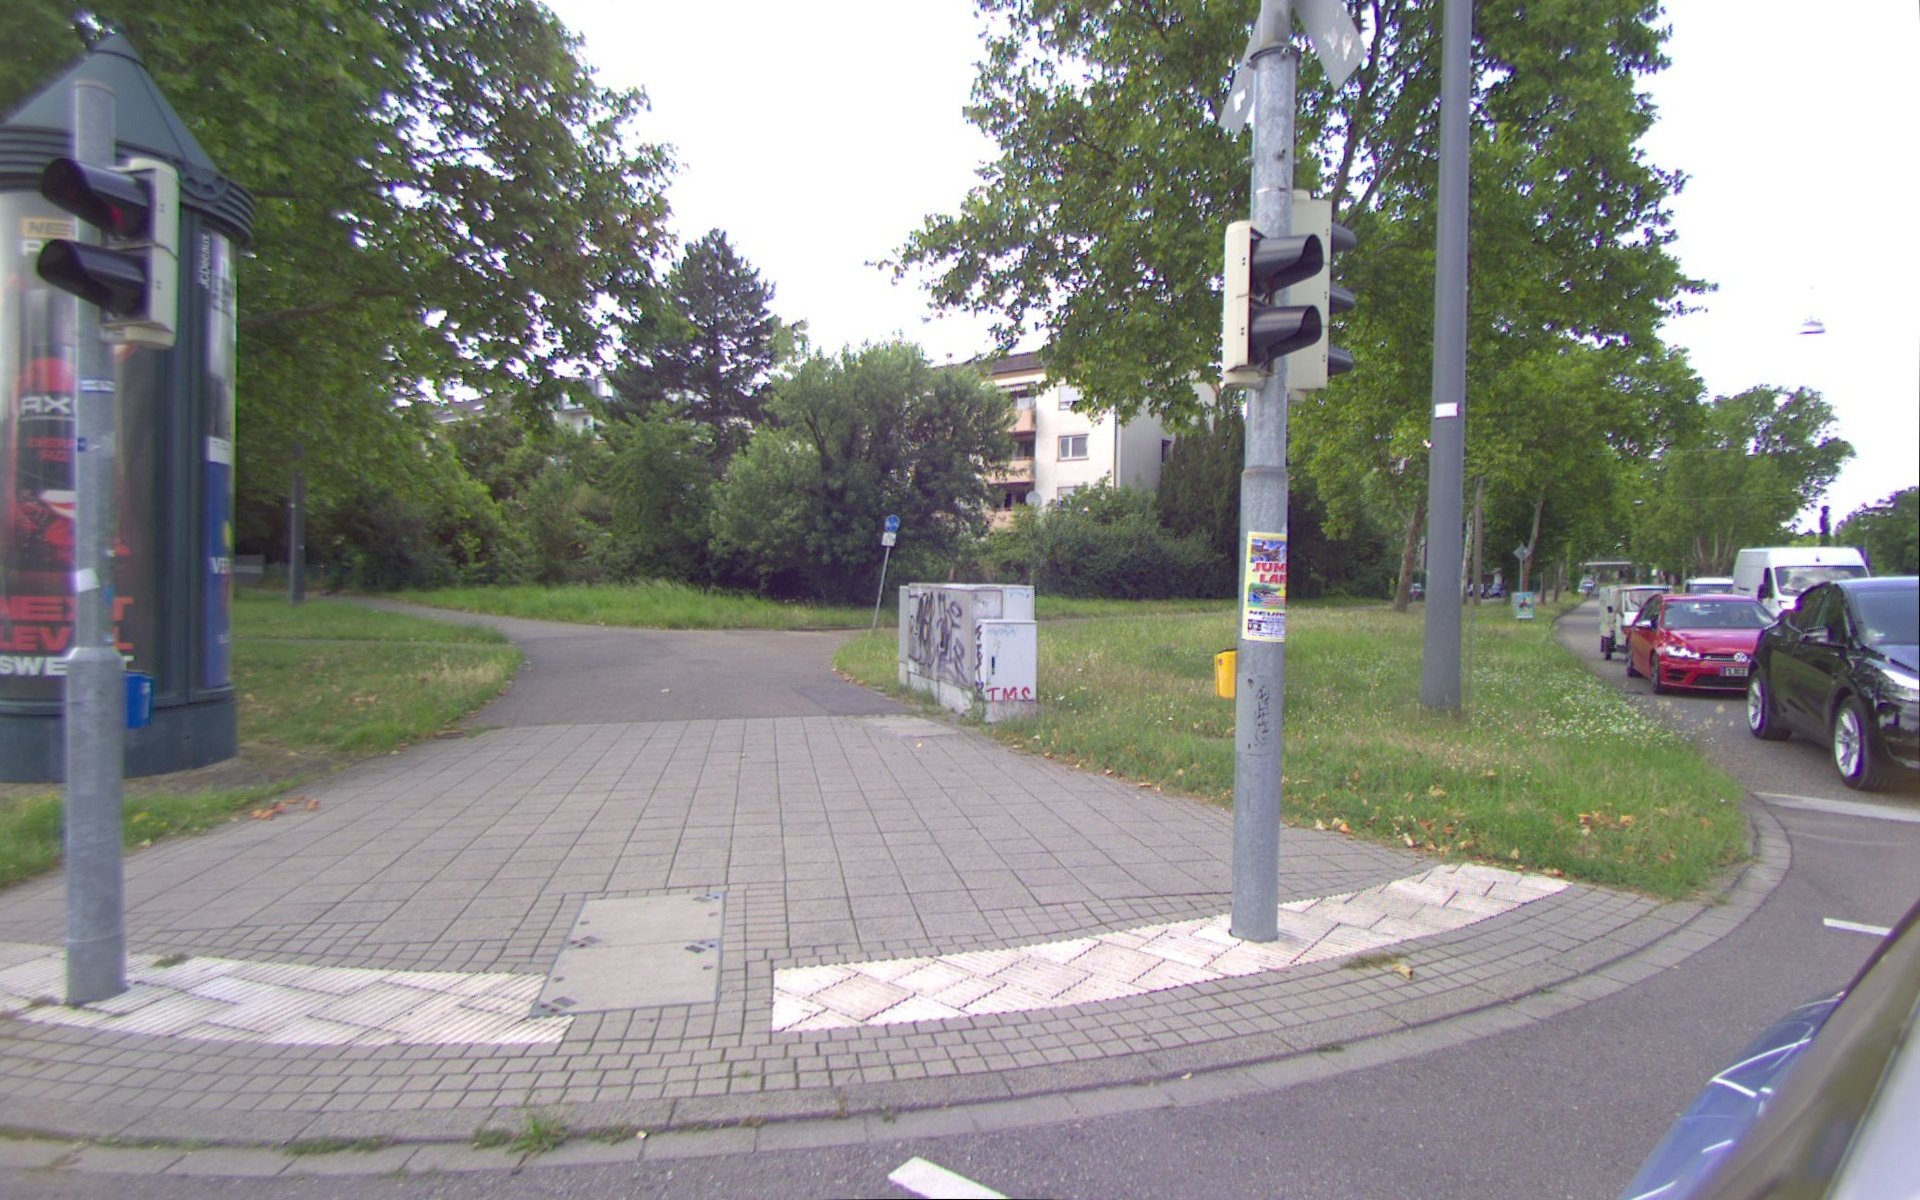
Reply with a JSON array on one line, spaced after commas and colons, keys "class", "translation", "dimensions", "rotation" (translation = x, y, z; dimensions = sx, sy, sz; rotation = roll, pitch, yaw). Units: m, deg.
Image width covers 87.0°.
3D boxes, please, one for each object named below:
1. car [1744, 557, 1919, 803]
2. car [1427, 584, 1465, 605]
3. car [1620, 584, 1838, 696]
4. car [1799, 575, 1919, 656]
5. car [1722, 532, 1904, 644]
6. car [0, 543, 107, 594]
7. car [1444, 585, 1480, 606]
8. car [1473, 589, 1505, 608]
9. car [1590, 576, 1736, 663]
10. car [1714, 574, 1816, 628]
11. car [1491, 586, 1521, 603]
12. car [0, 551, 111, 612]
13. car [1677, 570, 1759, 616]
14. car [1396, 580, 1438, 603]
[{"class": "car", "translation": [8.279, 0.487, 8.490], "dimensions": [1.914, 1.672, 4.536], "rotation": [0, 1, 28]}, {"class": "car", "translation": [39.459, -0.442, 82.114], "dimensions": [1.770, 1.616, 3.599], "rotation": [1, 0, 42]}, {"class": "car", "translation": [11.470, 0.492, 15.439], "dimensions": [1.784, 1.408, 4.462], "rotation": [0, 1, 26]}, {"class": "car", "translation": [17.873, 0.229, 19.407], "dimensions": [1.747, 1.392, 4.305], "rotation": [-1, 1, 26]}, {"class": "car", "translation": [21.858, -0.332, 26.263], "dimensions": [2.205, 2.561, 5.880], "rotation": [-1, 1, 26]}, {"class": "car", "translation": [-38.418, -1.290, 42.074], "dimensions": [4.478, 2.039, 1.997], "rotation": [-1, 1, -41]}, {"class": "car", "translation": [42.311, -0.352, 85.223], "dimensions": [1.770, 1.616, 3.599], "rotation": [1, 0, 42]}, {"class": "car", "translation": [49.048, -0.137, 93.754], "dimensions": [1.770, 1.616, 3.599], "rotation": [1, 0, 42]}, {"class": "car", "translation": [14.289, 0.308, 20.826], "dimensions": [1.784, 1.589, 4.462], "rotation": [-1, 1, 26]}, {"class": "car", "translation": [25.903, -0.022, 32.704], "dimensions": [1.827, 1.638, 4.116], "rotation": [0, 1, 28]}, {"class": "car", "translation": [53.861, -0.534, 99.888], "dimensions": [1.770, 1.616, 3.599], "rotation": [1, 0, 42]}, {"class": "car", "translation": [-27.090, -0.519, 28.729], "dimensions": [4.468, 1.665, 1.995], "rotation": [-1, 1, -44]}, {"class": "car", "translation": [29.650, -0.313, 39.720], "dimensions": [1.747, 1.667, 4.305], "rotation": [1, 2, 26]}, {"class": "car", "translation": [33.897, -0.620, 74.992], "dimensions": [1.770, 1.616, 3.599], "rotation": [1, 0, 42]}]
